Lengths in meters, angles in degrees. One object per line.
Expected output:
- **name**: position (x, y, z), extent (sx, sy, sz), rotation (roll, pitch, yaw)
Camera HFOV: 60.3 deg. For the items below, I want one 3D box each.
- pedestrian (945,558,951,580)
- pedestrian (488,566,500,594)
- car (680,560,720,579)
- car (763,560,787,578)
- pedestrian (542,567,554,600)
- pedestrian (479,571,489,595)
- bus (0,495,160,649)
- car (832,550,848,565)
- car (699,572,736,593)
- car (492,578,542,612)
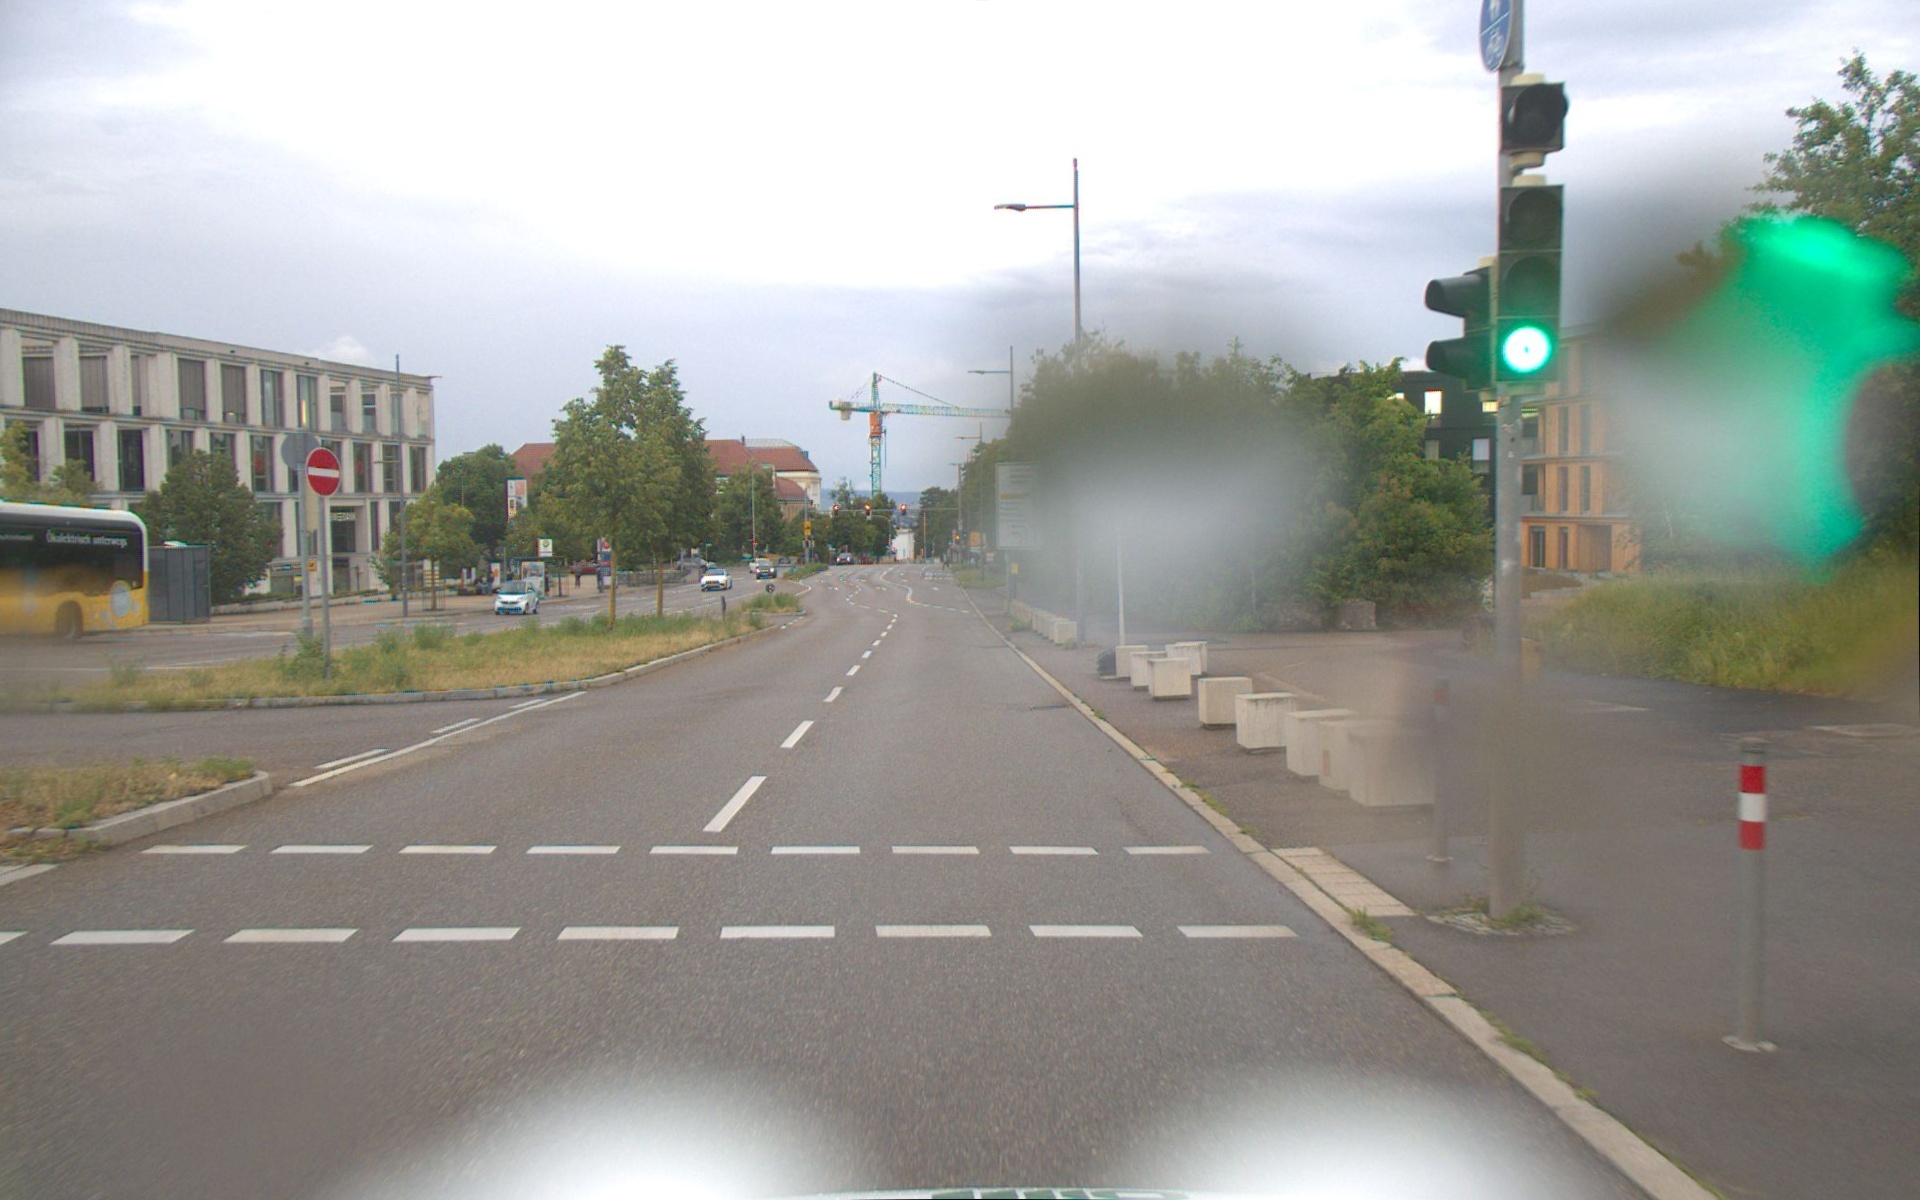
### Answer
- **pedestrian**: position (-1.113, -2.989, 157.235), extent (0.392, 2.048, 0.514), rotation (-4, 2, 5)
- **pedestrian**: position (-28.793, -1.238, 102.204), extent (0.514, 1.755, 0.566), rotation (-1, 1, 1)
- **car**: position (-27.571, -3.203, 175.261), extent (3.920, 1.911, 1.992), rotation (1, 0, 36)
- **car**: position (-16.635, -2.791, 148.828), extent (1.809, 1.487, 3.867), rotation (-2, 1, -1)
- **pedestrian**: position (-23.967, -0.956, 96.125), extent (0.497, 1.874, 0.755), rotation (-1, 1, -2)
- **pedestrian**: position (-29.574, -1.055, 102.741), extent (0.417, 1.476, 0.510), rotation (-1, 1, -1)
- **bus**: position (-23.149, -0.660, 40.135), extent (2.761, 3.533, 8.237), rotation (1, 0, 6)
- **car**: position (-15.500, -5.500, 214.265), extent (1.954, 1.870, 3.998), rotation (1, 0, -3)
- **car**: position (-17.155, -1.234, 117.197), extent (1.953, 1.443, 4.512), rotation (-1, 1, -1)
- **car**: position (-20.776, -0.246, 77.699), extent (1.581, 1.534, 2.972), rotation (0, 1, -1)
